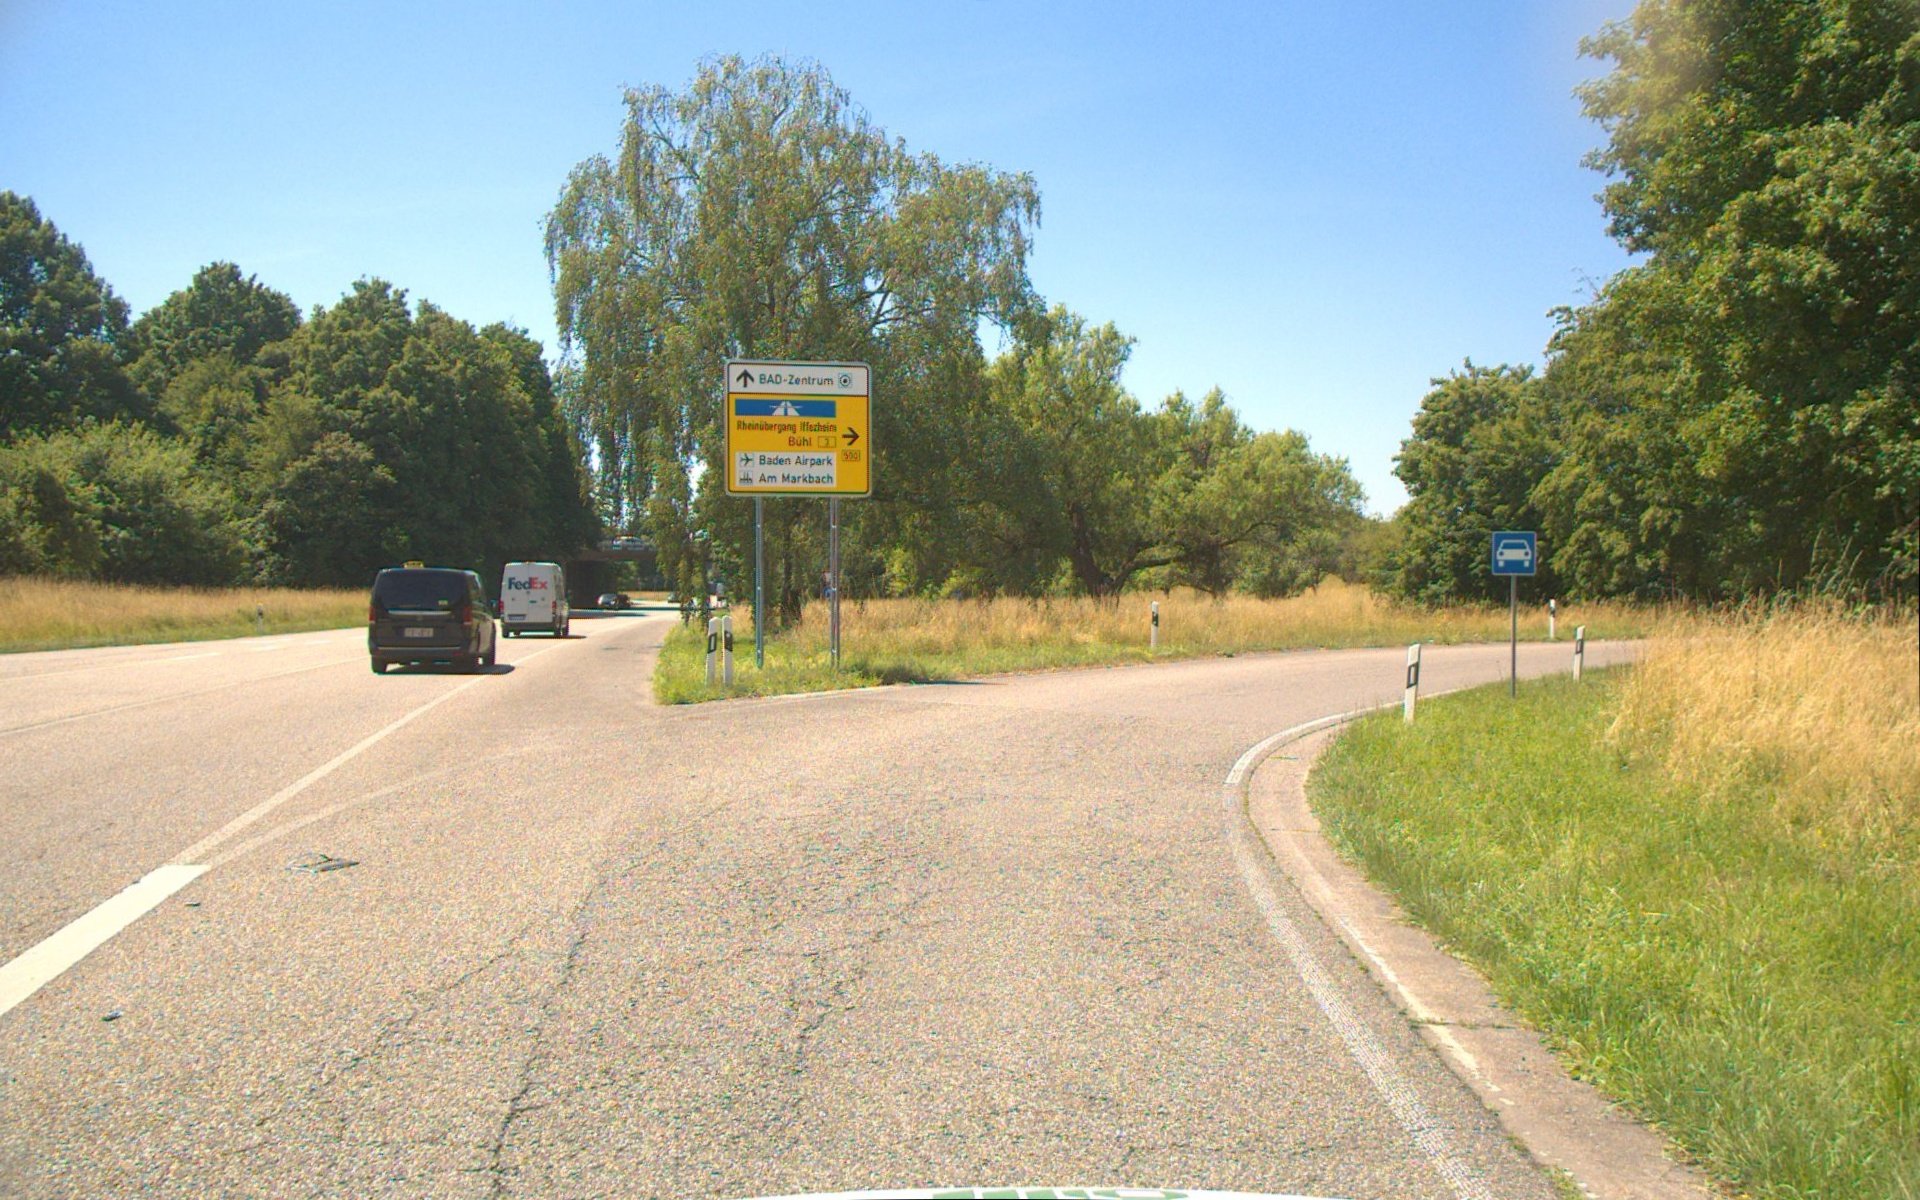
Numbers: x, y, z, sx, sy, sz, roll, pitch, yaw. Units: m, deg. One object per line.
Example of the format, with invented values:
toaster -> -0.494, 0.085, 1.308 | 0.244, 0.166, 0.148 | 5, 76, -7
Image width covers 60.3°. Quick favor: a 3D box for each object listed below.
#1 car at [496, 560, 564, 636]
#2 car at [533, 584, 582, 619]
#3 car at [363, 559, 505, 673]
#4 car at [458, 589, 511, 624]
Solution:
car -> -15.143, -0.078, 58.458 | 2.080, 2.545, 4.077 | 1, 0, -12
car -> -20.117, 0.060, 82.857 | 2.078, 1.663, 4.080 | 1, 0, -10
car -> -9.774, 0.269, 31.041 | 1.957, 1.982, 4.080 | 1, 0, -10
car -> -23.439, 0.293, 81.678 | 2.078, 1.663, 4.080 | 1, 0, -10
